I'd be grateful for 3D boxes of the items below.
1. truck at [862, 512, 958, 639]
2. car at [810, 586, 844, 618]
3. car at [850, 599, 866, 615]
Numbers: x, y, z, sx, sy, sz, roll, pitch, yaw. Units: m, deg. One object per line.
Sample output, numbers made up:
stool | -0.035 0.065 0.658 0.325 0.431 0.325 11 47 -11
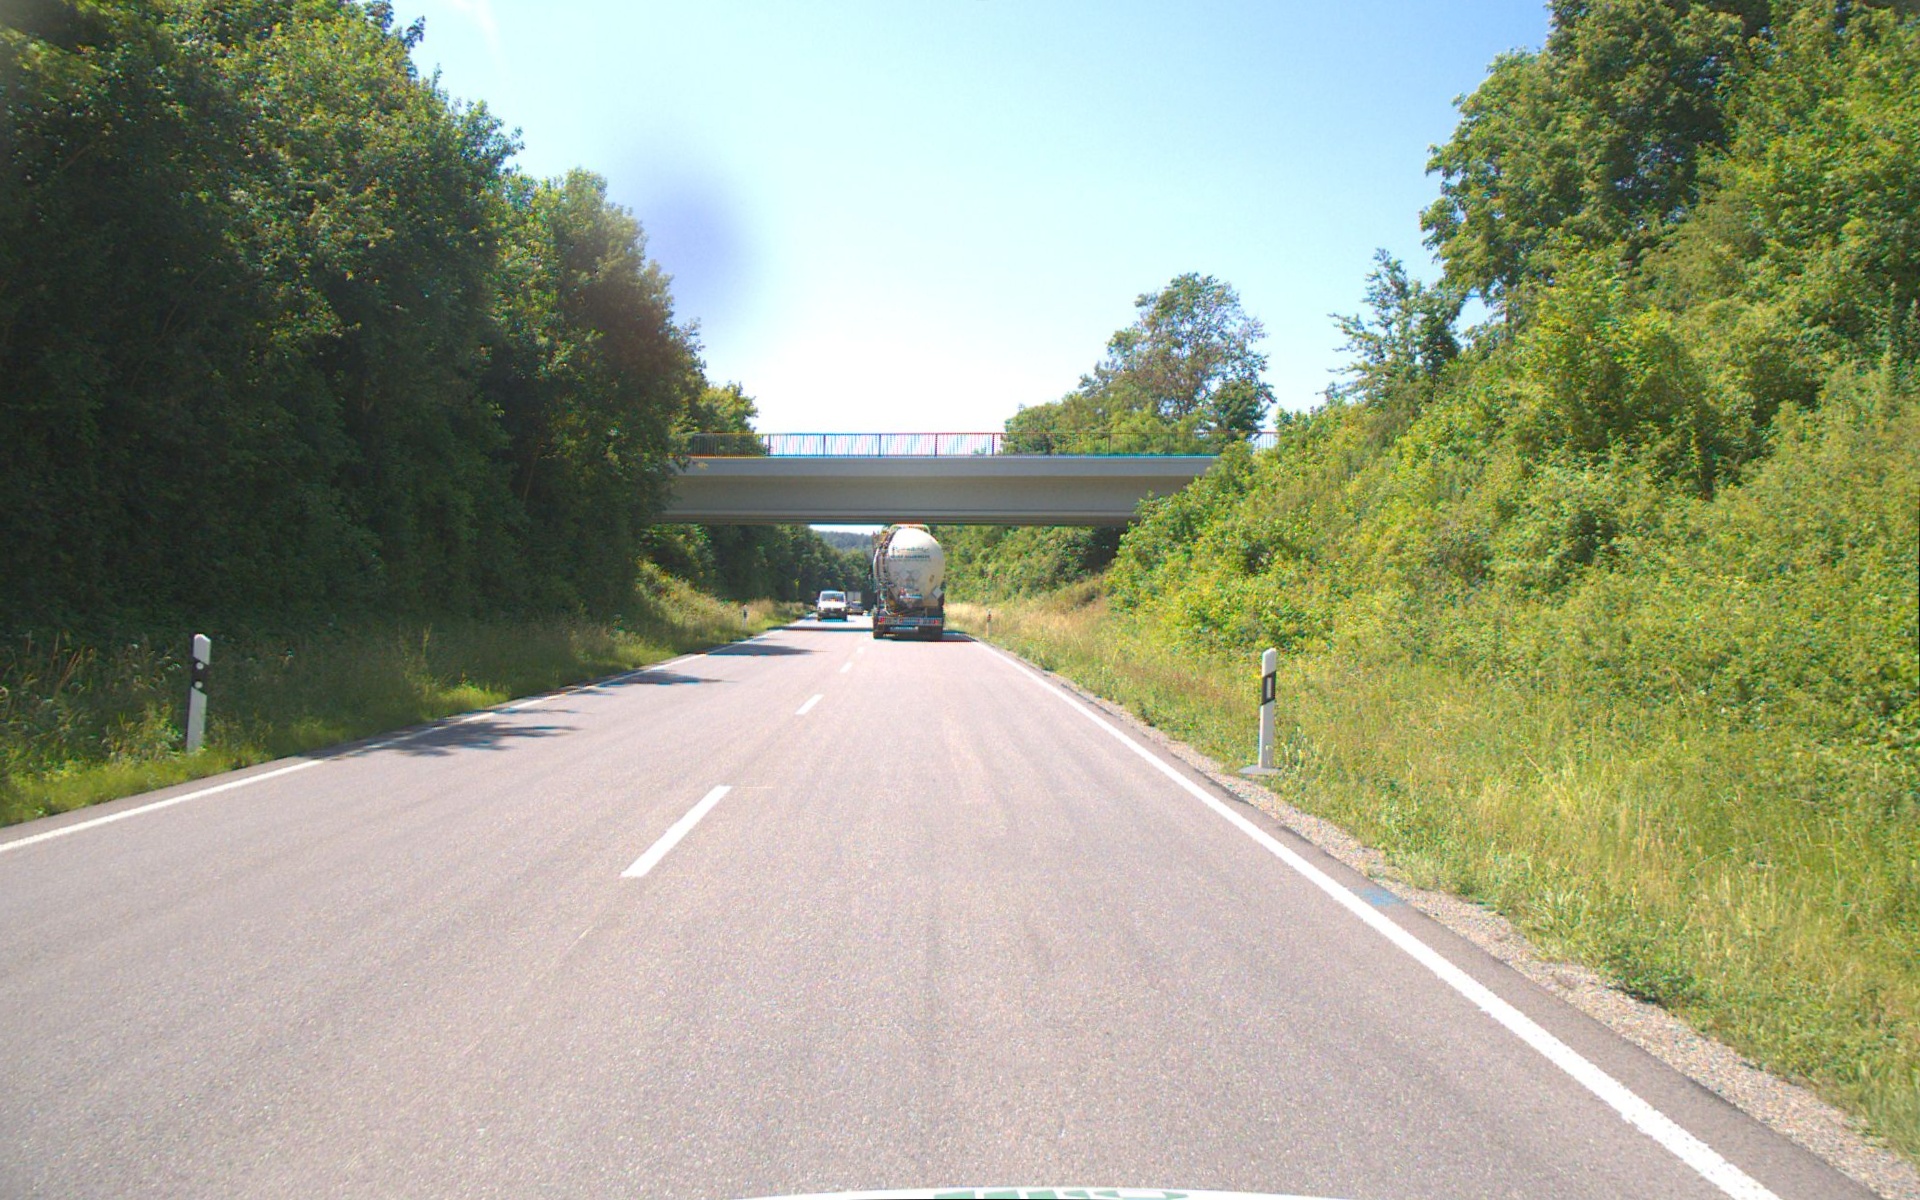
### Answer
truck | -1.935 -0.697 63.579 2.988 4.068 15.629 3 -1 -2
car | -8.421 0.133 105.050 1.893 1.939 5.325 1 0 -2
car | -12.929 0.874 209.030 1.955 2.049 3.996 1 0 -5
